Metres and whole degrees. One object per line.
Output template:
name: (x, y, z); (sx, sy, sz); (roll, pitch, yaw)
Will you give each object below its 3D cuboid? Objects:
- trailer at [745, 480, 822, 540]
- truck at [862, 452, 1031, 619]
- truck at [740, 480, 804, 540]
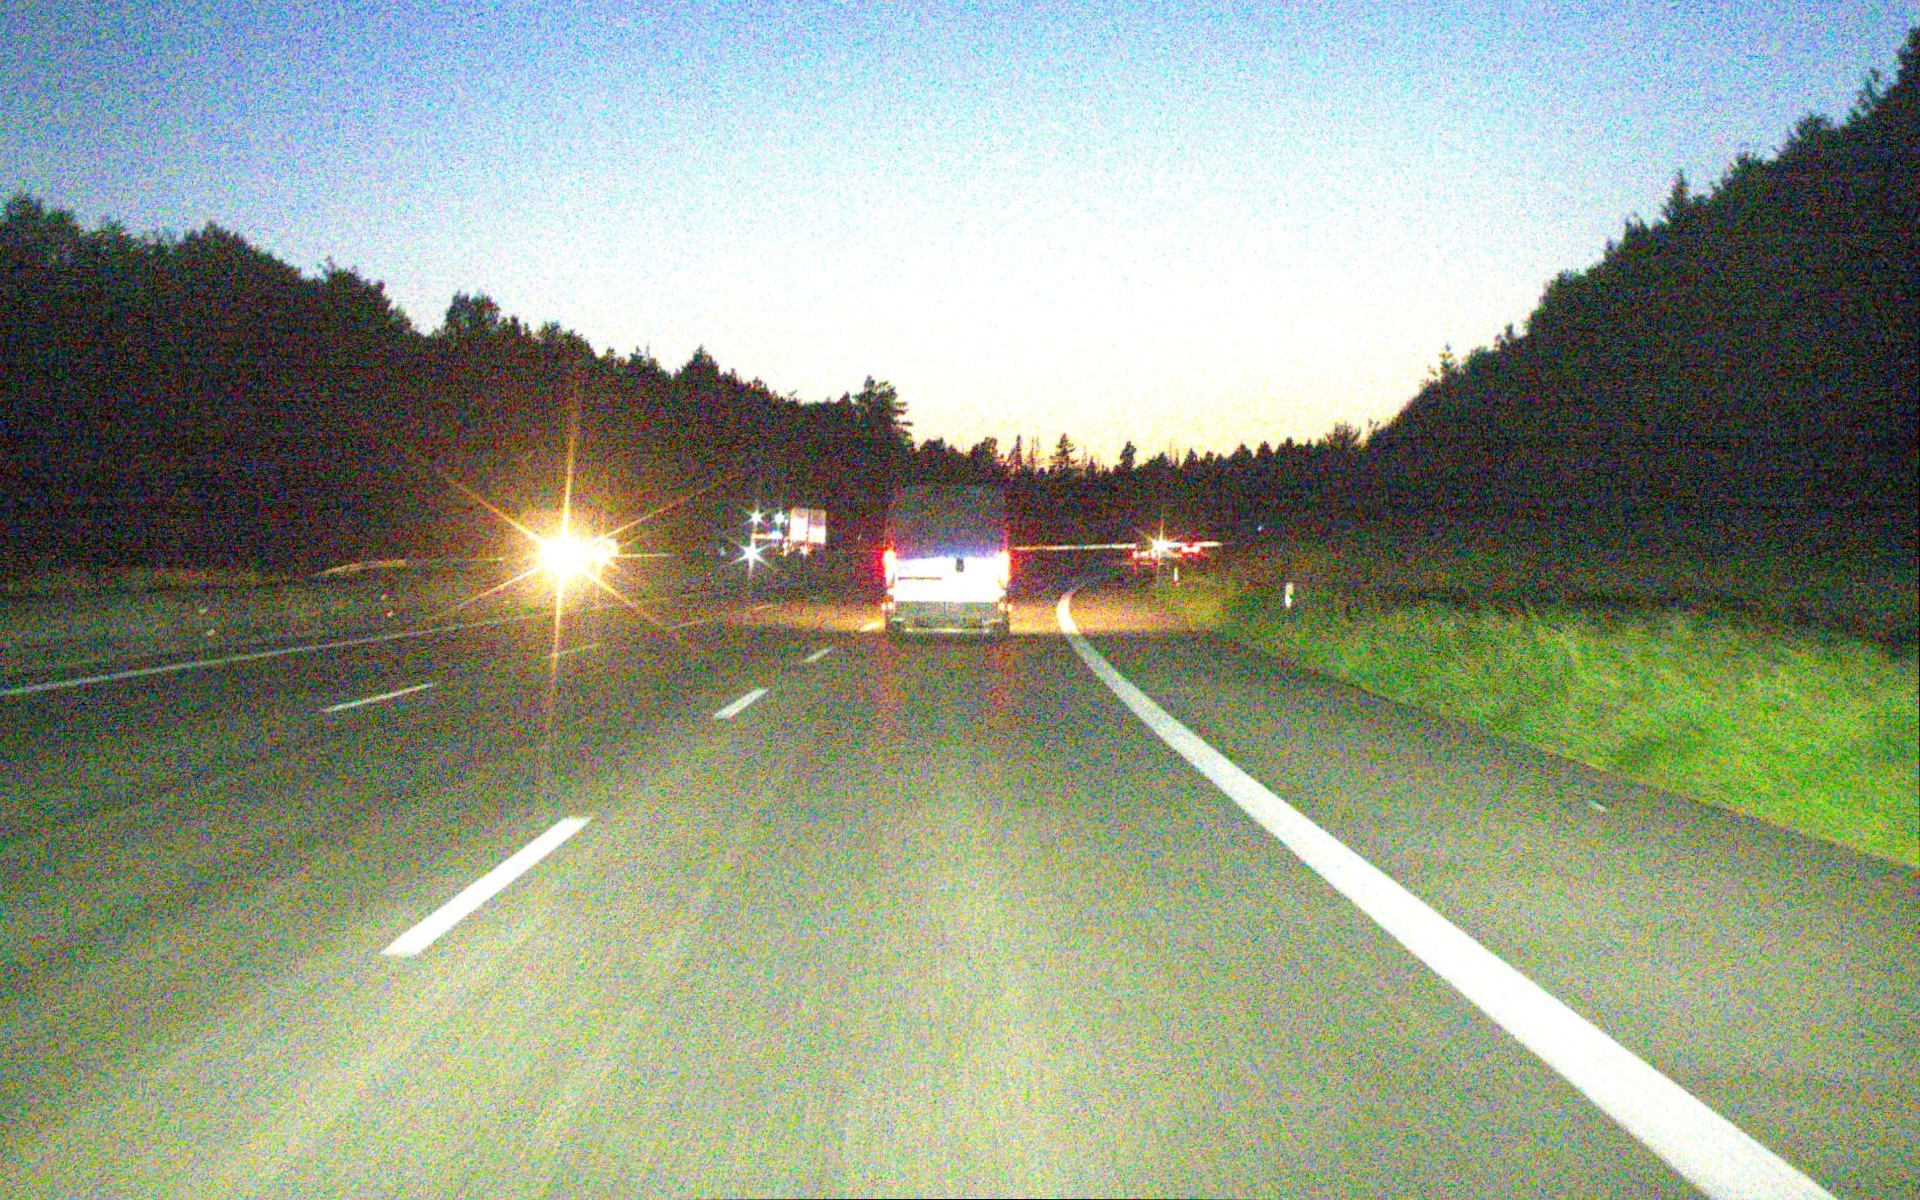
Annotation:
trailer: (-12.301, -6.234, 241.533); (3.543, 3.986, 17.281); (0, 1, 3)
truck: (-0.340, -1.067, 58.591); (2.630, 2.615, 8.685); (0, 1, -2)
truck: (-12.765, -6.085, 233.891); (3.502, 3.956, 6.698); (0, 1, 4)
